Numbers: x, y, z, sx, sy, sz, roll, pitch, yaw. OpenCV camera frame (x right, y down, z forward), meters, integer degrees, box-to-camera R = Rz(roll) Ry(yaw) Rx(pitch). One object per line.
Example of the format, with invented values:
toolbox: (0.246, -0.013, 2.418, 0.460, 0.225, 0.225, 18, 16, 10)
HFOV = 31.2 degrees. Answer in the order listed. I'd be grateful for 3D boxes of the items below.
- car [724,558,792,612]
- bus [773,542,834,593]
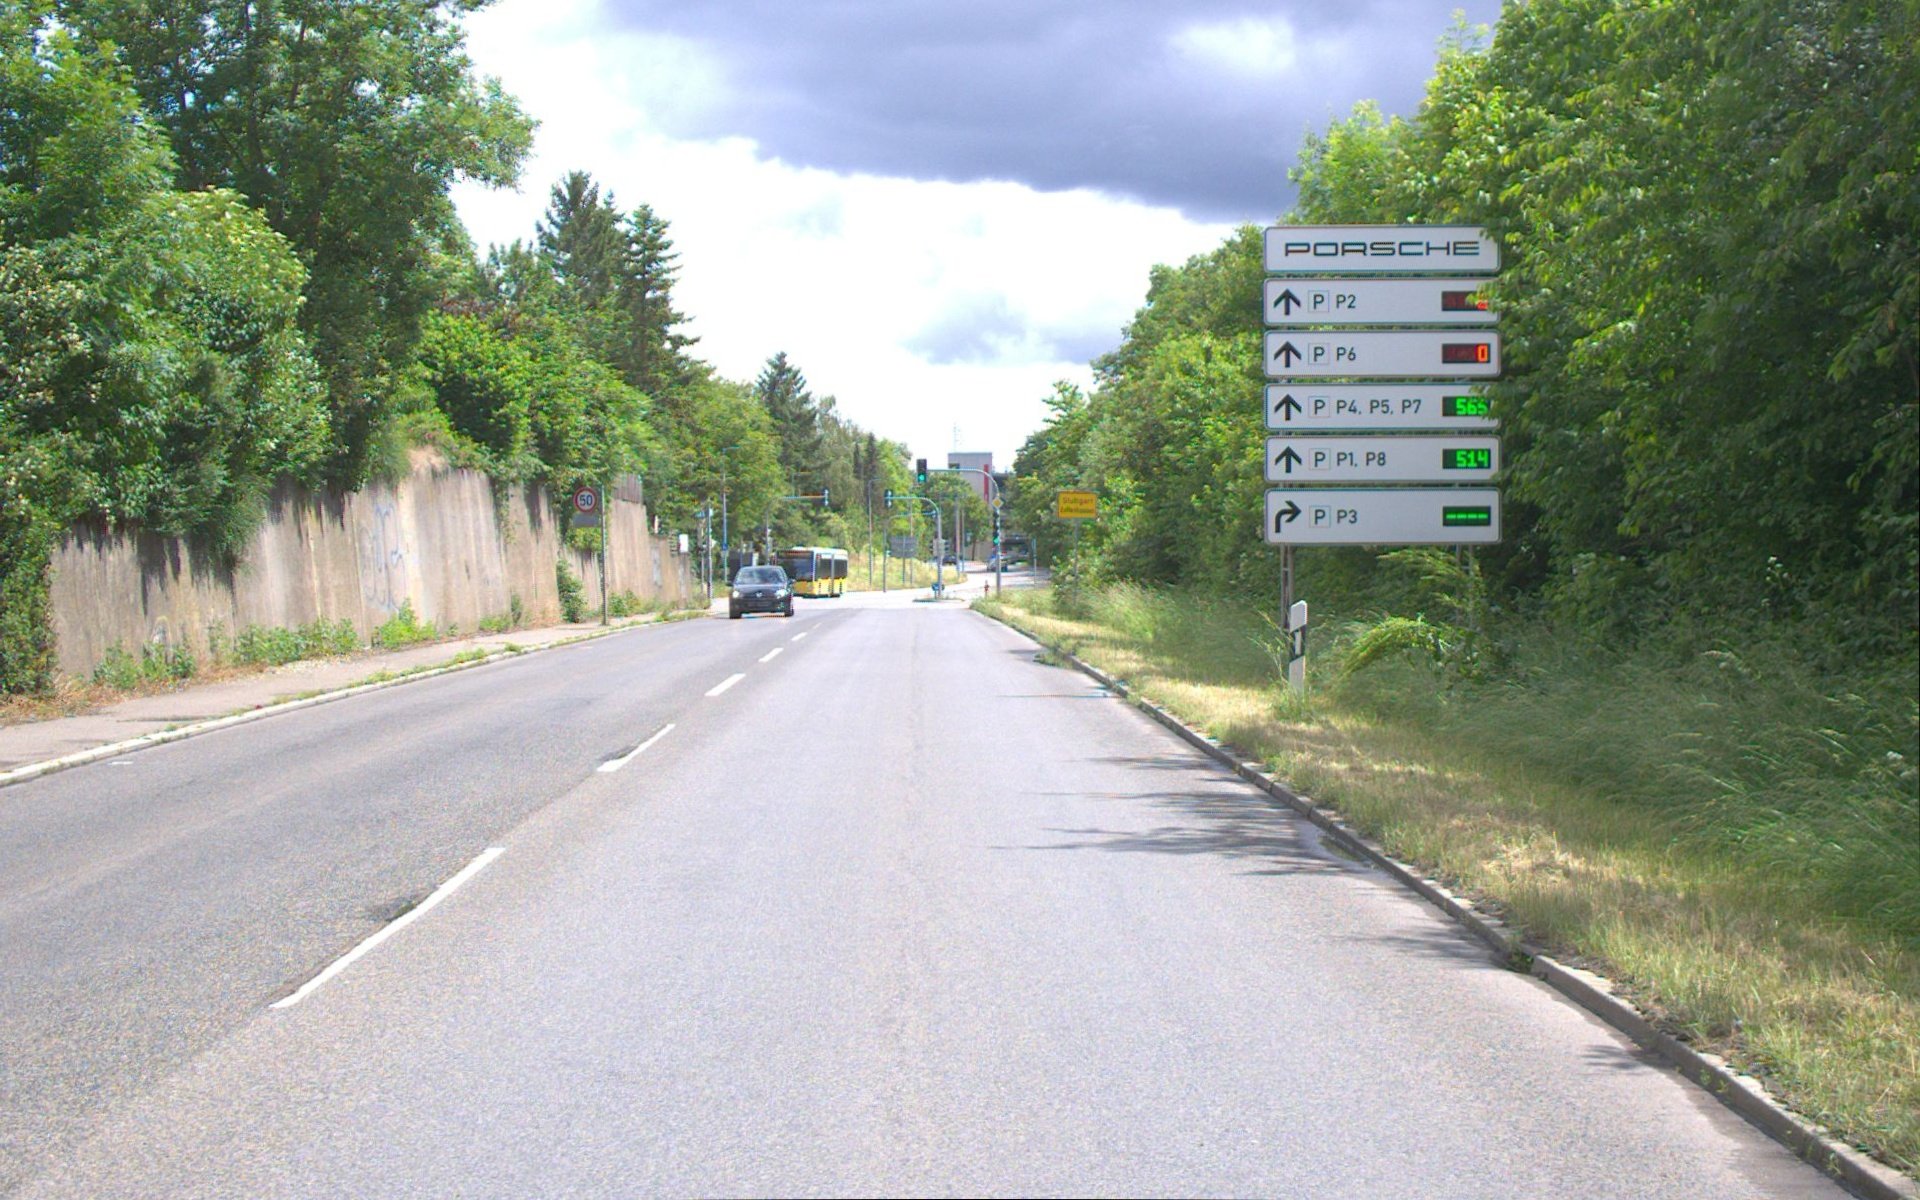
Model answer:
car: (-5.715, -0.448, 97.748, 1.751, 1.459, 4.000, -1, 1, -1)
bus: (-9.452, -1.996, 208.553, 2.895, 2.889, 7.667, 2, 2, 3)
